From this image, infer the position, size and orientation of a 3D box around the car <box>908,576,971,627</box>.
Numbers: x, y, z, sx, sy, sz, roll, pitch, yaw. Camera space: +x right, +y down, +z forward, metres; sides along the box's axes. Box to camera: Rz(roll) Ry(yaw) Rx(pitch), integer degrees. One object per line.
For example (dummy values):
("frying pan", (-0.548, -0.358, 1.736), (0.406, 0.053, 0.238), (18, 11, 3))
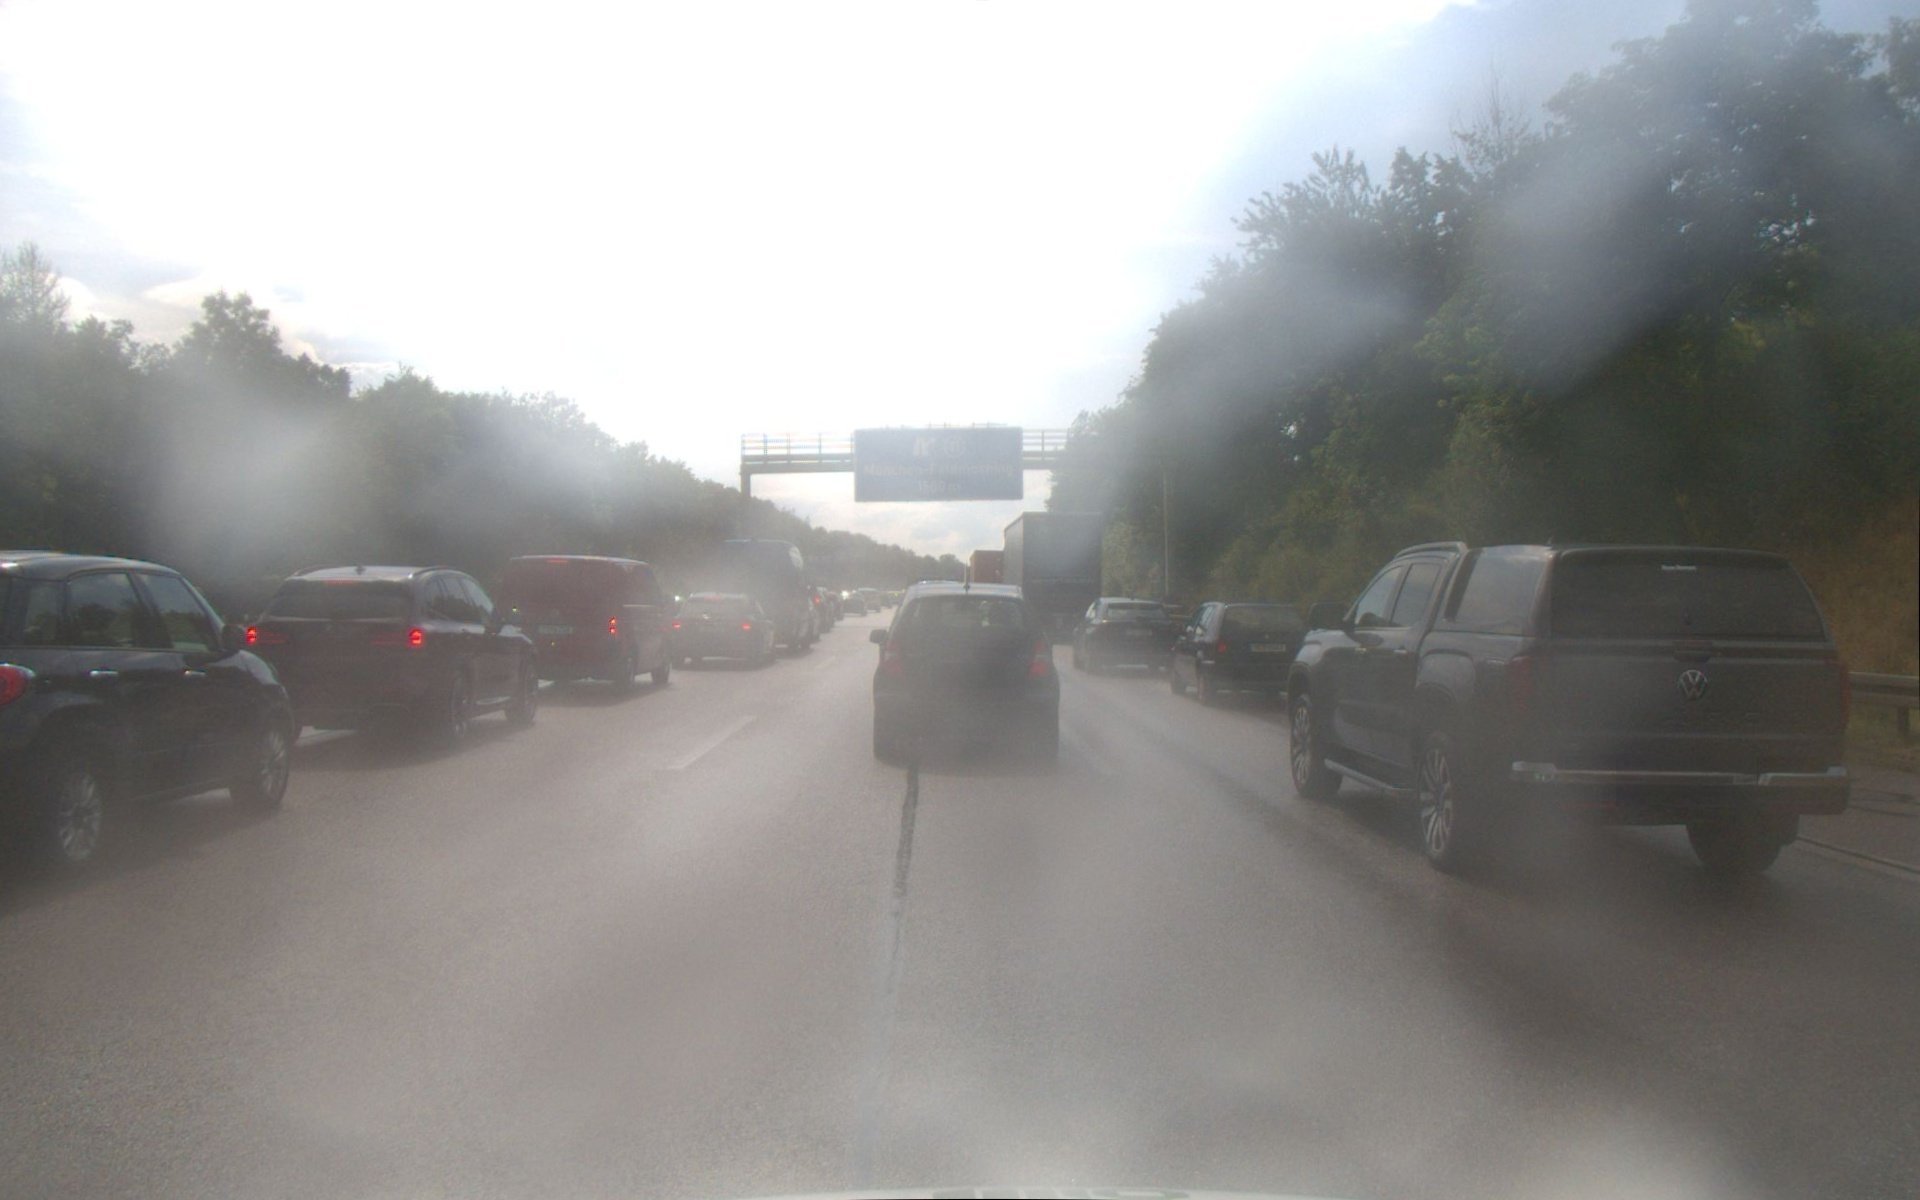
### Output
("car", (-0.694, 0.047, 52.886), (1.828, 1.542, 3.973), (1, 0, -3))

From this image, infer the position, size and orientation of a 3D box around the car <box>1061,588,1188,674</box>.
("car", (3.094, 0.566, 31.918), (1.828, 1.542, 3.973), (1, 0, -3))

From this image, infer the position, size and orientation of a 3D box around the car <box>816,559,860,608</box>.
("car", (-6.301, -0.824, 85.918), (1.953, 2.427, 5.258), (1, 0, -1))

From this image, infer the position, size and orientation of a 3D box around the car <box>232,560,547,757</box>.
("car", (-5.520, 0.506, 16.667), (1.871, 1.665, 4.612), (-1, 0, -5))

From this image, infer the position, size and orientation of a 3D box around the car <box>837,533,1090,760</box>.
("car", (-0.068, 0.422, 17.108), (2.229, 1.989, 4.818), (1, 0, -3))

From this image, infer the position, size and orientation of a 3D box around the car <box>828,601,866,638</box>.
("car", (-6.771, 1.146, 99.661), (1.953, 2.152, 4.888), (1, 0, -1))

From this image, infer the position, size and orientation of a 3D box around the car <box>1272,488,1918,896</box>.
("car", (3.618, 0.457, 10.830), (1.902, 1.952, 5.650), (1, 0, -2))

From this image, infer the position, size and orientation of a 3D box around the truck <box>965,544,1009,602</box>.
("truck", (1.734, -1.747, 109.570), (2.719, 3.695, 5.915), (1, 0, -1))

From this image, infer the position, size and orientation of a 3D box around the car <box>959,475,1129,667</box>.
("car", (2.612, -0.869, 59.909), (4.316, 5.932, 16.806), (1, 0, -3))

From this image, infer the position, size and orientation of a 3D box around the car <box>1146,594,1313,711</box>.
("car", (3.799, 0.704, 23.914), (1.559, 1.542, 3.973), (1, 0, -3))

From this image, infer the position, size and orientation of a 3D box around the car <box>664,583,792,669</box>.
("car", (-4.615, 0.493, 33.518), (1.953, 1.592, 4.755), (1, 0, -1))

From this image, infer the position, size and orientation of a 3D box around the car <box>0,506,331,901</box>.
("car", (-5.209, 0.479, 9.651), (1.658, 1.836, 3.974), (1, 0, -2))

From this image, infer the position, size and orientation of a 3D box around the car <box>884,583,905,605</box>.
("car", (-6.683, -0.623, 168.605), (1.953, 2.152, 4.888), (1, 0, -1))

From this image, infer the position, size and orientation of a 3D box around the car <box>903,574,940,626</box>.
("car", (-2.127, 0.025, 92.008), (1.953, 2.794, 5.258), (1, 0, -1))

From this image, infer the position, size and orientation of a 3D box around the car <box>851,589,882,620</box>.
("car", (-6.641, 0.301, 117.979), (1.953, 2.152, 4.888), (1, 0, -1))

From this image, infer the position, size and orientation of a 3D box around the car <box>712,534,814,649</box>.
("car", (-4.824, -0.190, 41.183), (1.953, 2.661, 5.258), (1, 0, -1))

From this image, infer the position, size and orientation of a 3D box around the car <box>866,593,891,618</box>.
("car", (-7.050, 0.480, 143.685), (1.953, 2.152, 4.888), (1, 0, -1))

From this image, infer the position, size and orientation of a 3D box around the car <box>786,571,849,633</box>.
("car", (-5.239, 0.078, 61.295), (1.953, 2.152, 4.888), (1, 0, -1))

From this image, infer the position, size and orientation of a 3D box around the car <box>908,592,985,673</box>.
("car", (-0.376, 0.754, 39.998), (1.659, 1.836, 3.973), (1, 0, -3))

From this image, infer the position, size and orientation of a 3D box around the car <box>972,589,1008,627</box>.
("car", (1.707, 0.468, 96.412), (1.953, 2.152, 4.888), (1, 0, -1))

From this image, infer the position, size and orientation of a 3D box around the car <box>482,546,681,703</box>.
("car", (-5.503, 0.343, 24.700), (1.938, 2.090, 4.755), (1, 0, -1))
